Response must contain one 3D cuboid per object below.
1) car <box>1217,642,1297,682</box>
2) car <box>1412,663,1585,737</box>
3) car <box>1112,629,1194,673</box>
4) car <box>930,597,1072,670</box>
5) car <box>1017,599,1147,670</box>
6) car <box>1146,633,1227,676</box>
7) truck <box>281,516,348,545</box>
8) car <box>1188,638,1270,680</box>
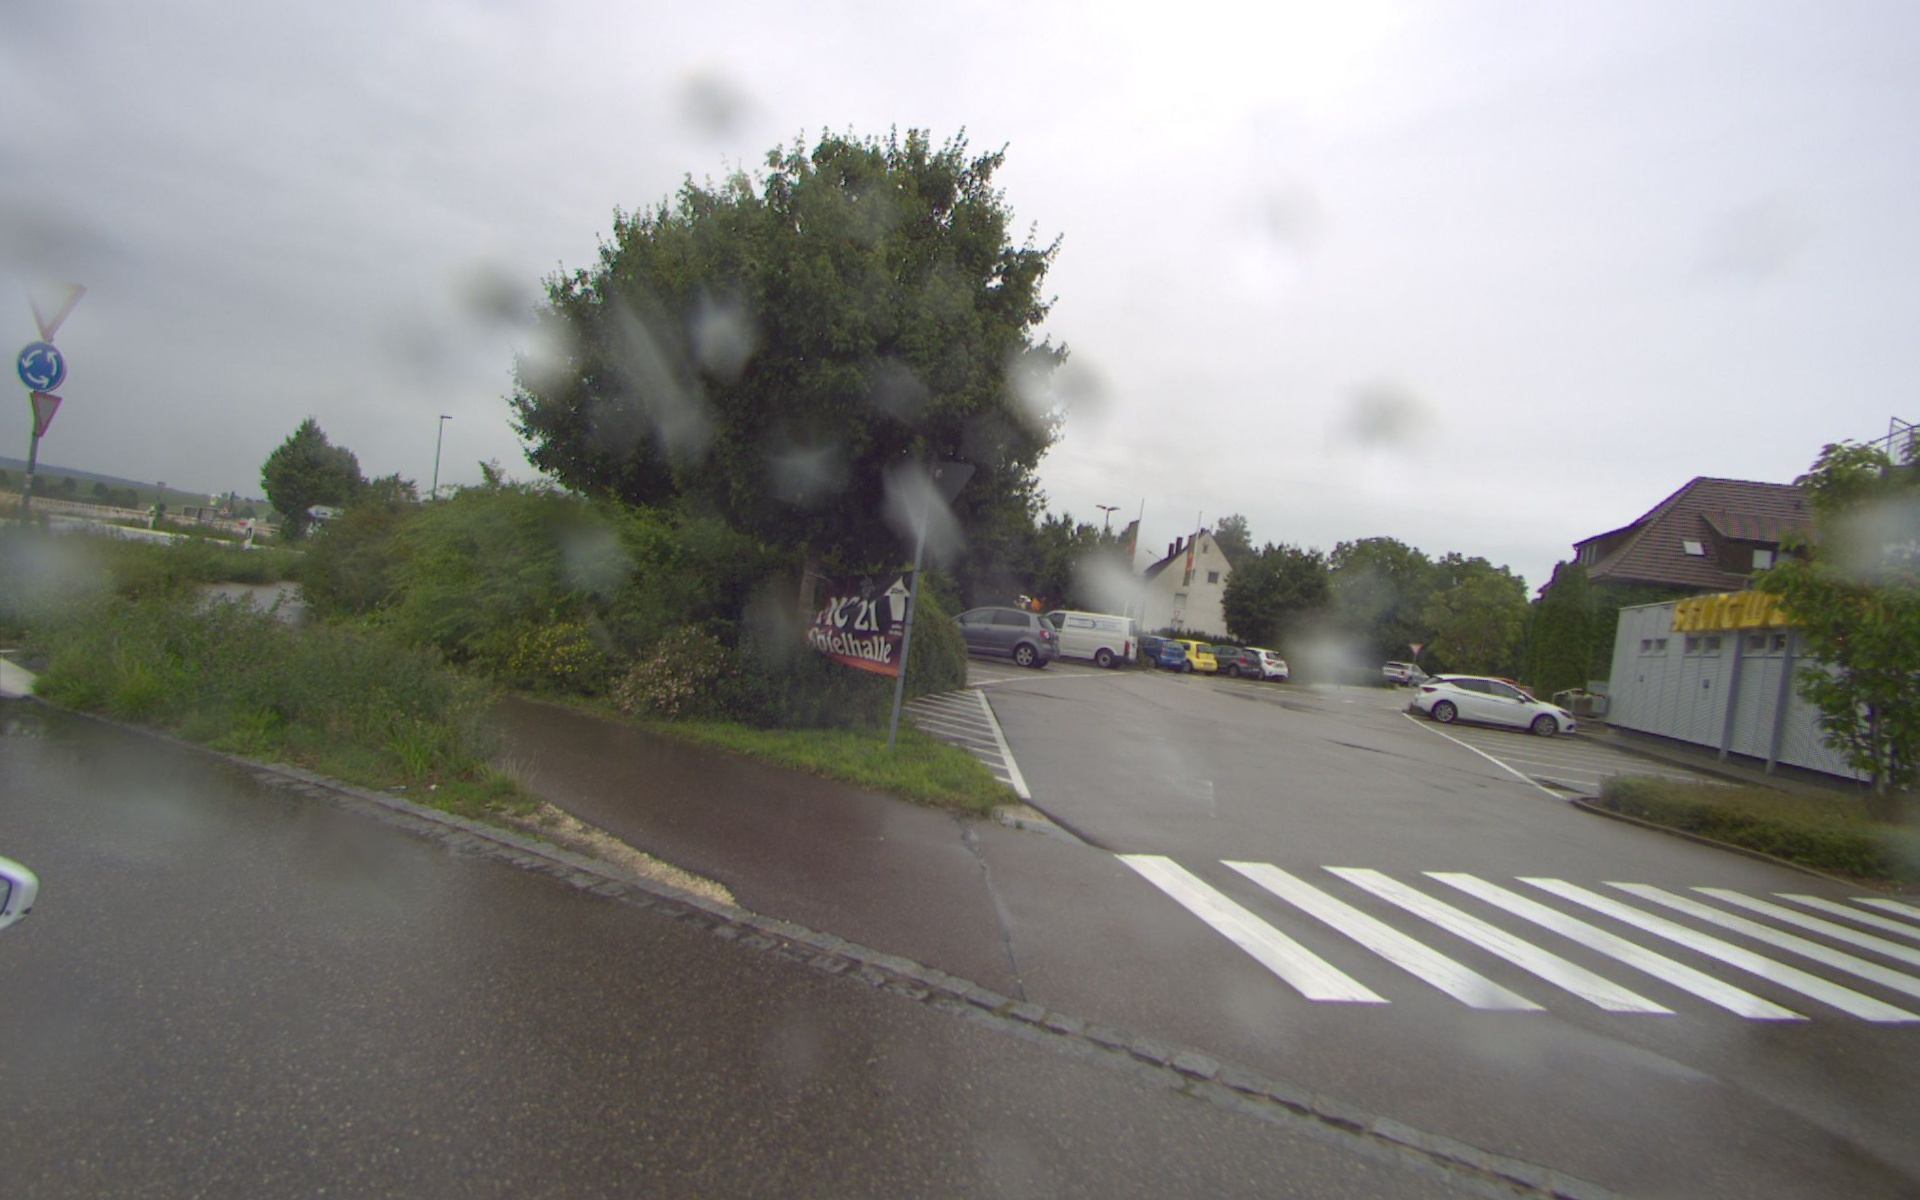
[{"bbox_3d":[14.540,3.025,49.433,1.567,1.476,3.655,7,0,-27],"label":"car"},{"bbox_3d":[15.715,2.898,29.611,4.110,1.516,1.718,7,0,18],"label":"car"},{"bbox_3d":[8.496,2.238,44.648,1.537,1.476,3.655,7,0,-27],"label":"car"},{"bbox_3d":[1.179,0.958,28.763,3.674,1.570,1.451,7,0,19],"label":"car"},{"bbox_3d":[4.619,1.281,38.070,4.450,2.058,1.645,7,1,19],"label":"car"},{"bbox_3d":[10.425,2.491,46.535,1.567,1.476,3.655,7,0,-27],"label":"car"},{"bbox_3d":[-65.175,-6.983,101.767,2.477,2.251,8.393,6,0,-10],"label":"truck"},{"bbox_3d":[12.656,2.772,47.503,1.567,1.476,3.655,7,0,-27],"label":"car"}]
